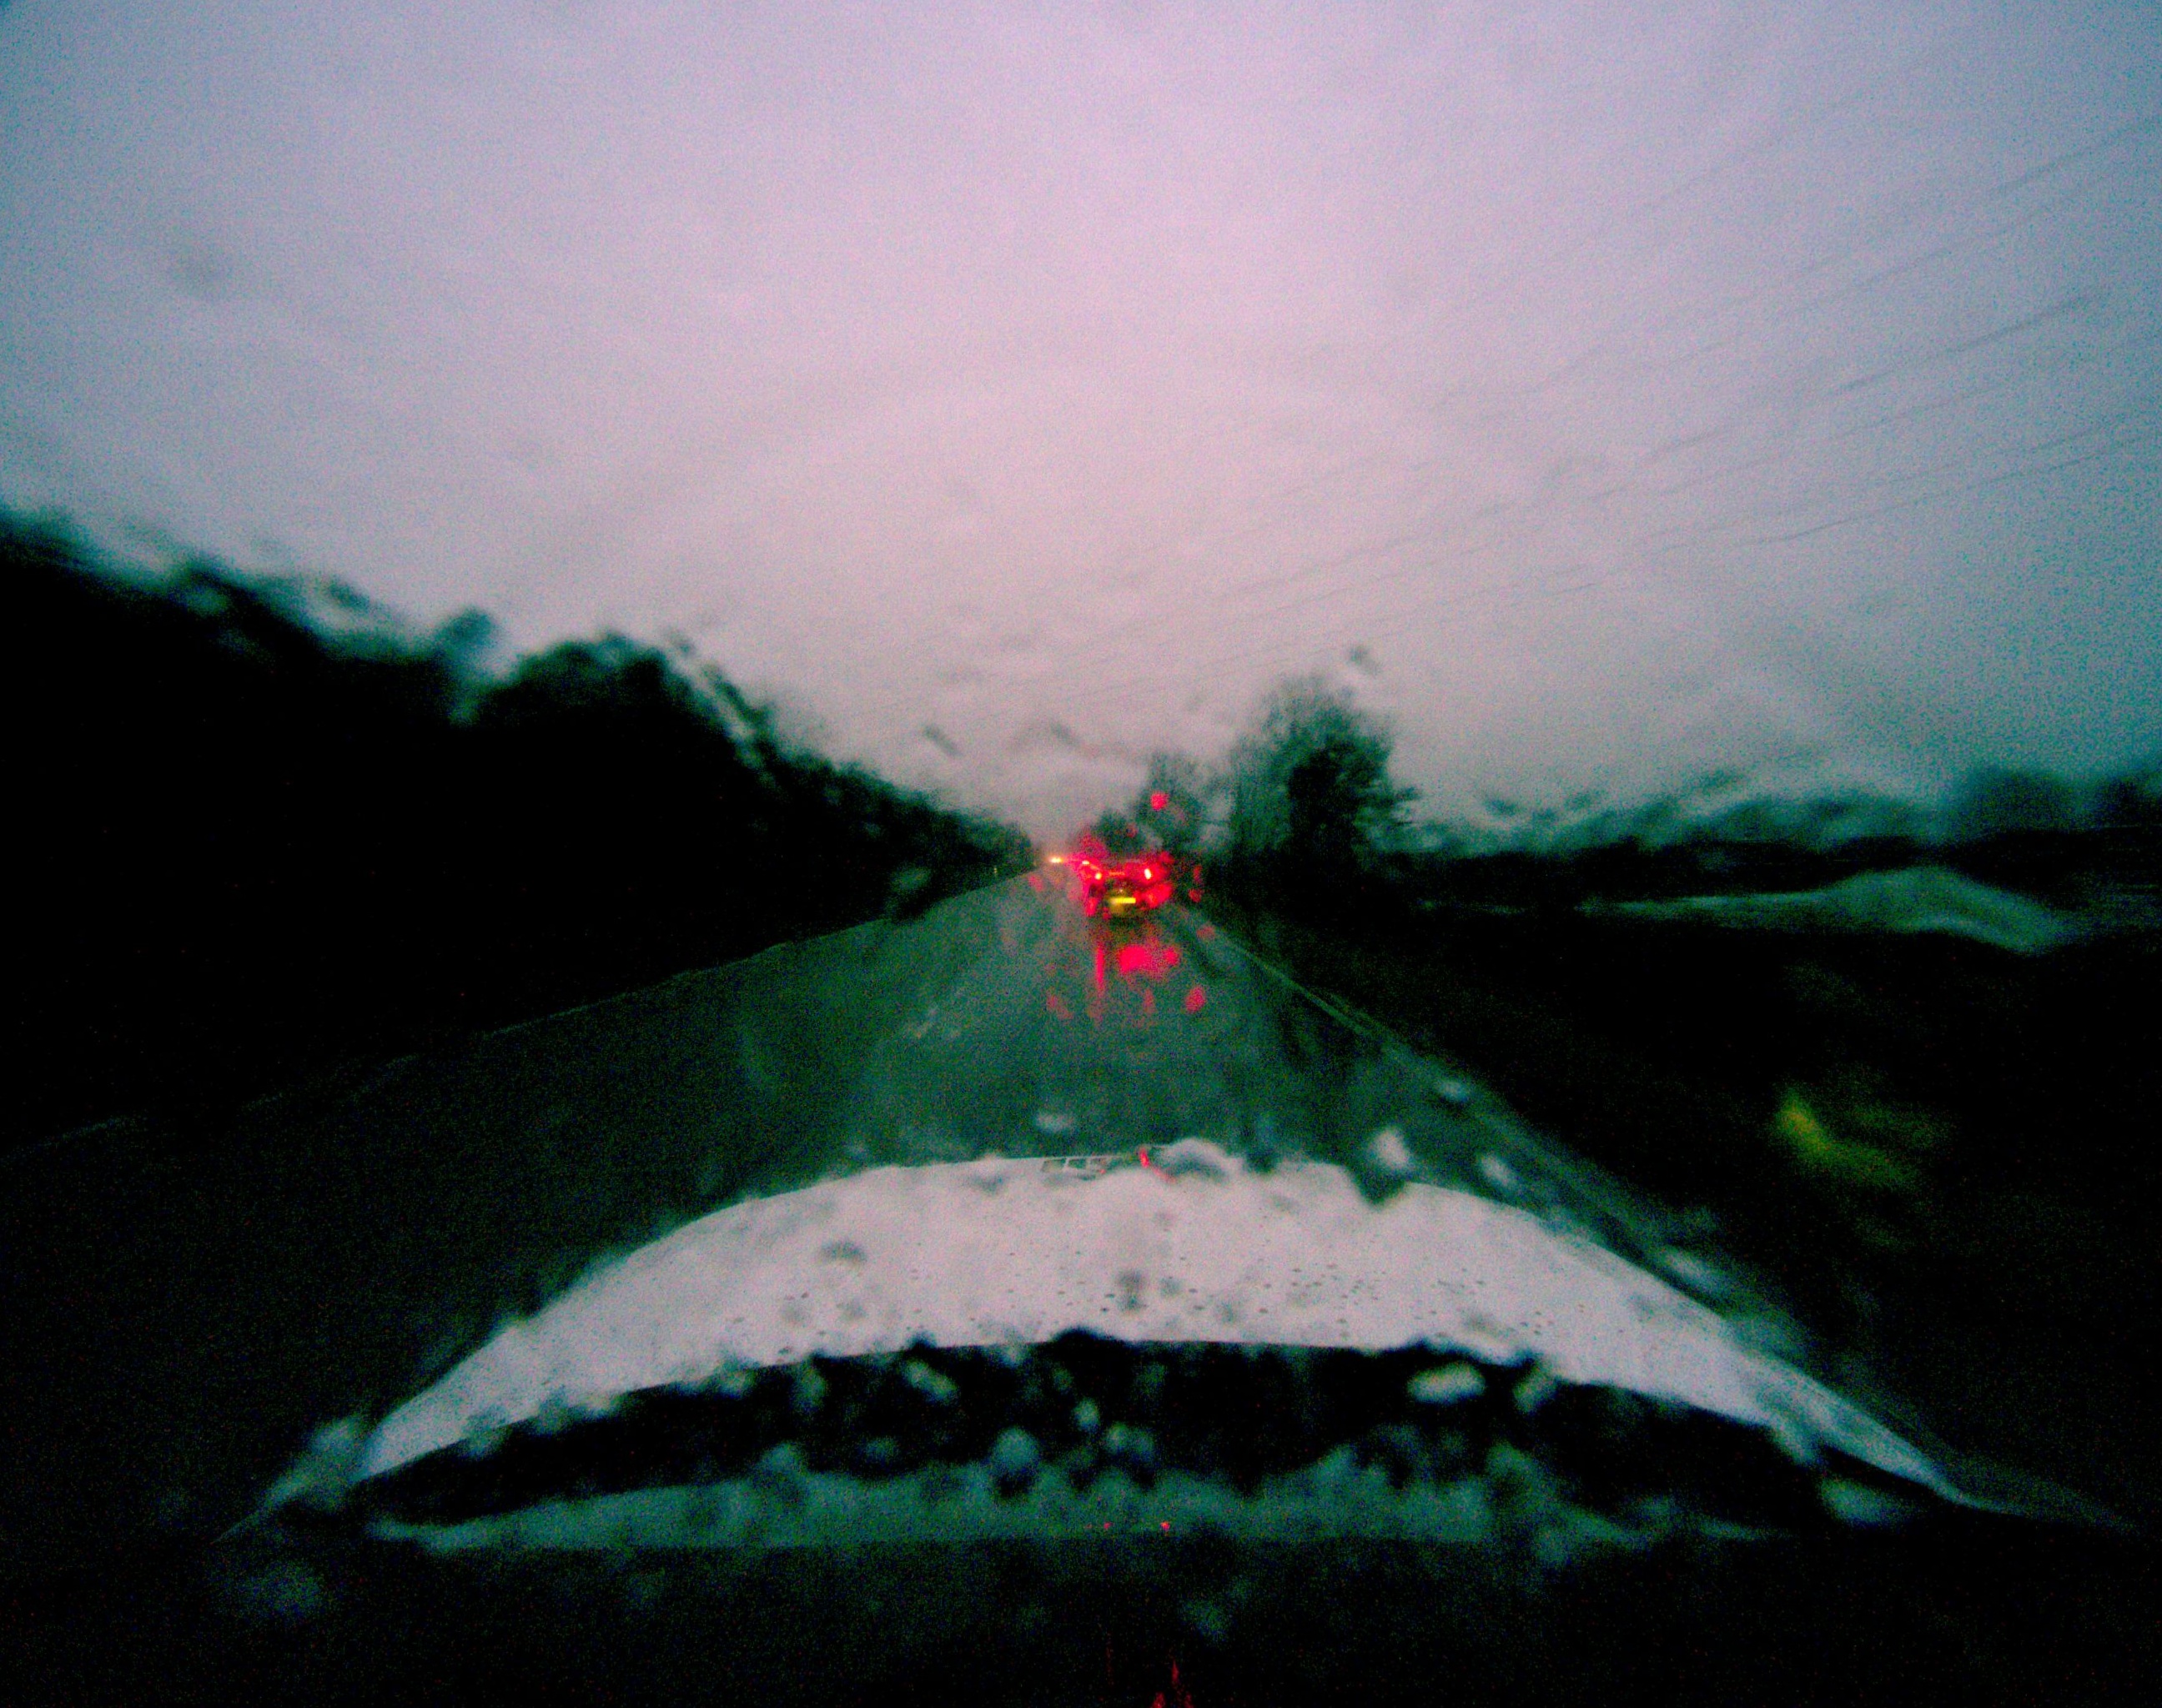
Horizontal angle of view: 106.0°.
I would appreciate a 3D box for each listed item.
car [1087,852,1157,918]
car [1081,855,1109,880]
[{"bbox_3d":[1.042,0.714,20.755,1.596,1.522,3.872,-1,0,3],"label":"car"},{"bbox_3d":[0.872,0.797,49.075,1.541,1.396,3.871,-1,0,2],"label":"car"}]
